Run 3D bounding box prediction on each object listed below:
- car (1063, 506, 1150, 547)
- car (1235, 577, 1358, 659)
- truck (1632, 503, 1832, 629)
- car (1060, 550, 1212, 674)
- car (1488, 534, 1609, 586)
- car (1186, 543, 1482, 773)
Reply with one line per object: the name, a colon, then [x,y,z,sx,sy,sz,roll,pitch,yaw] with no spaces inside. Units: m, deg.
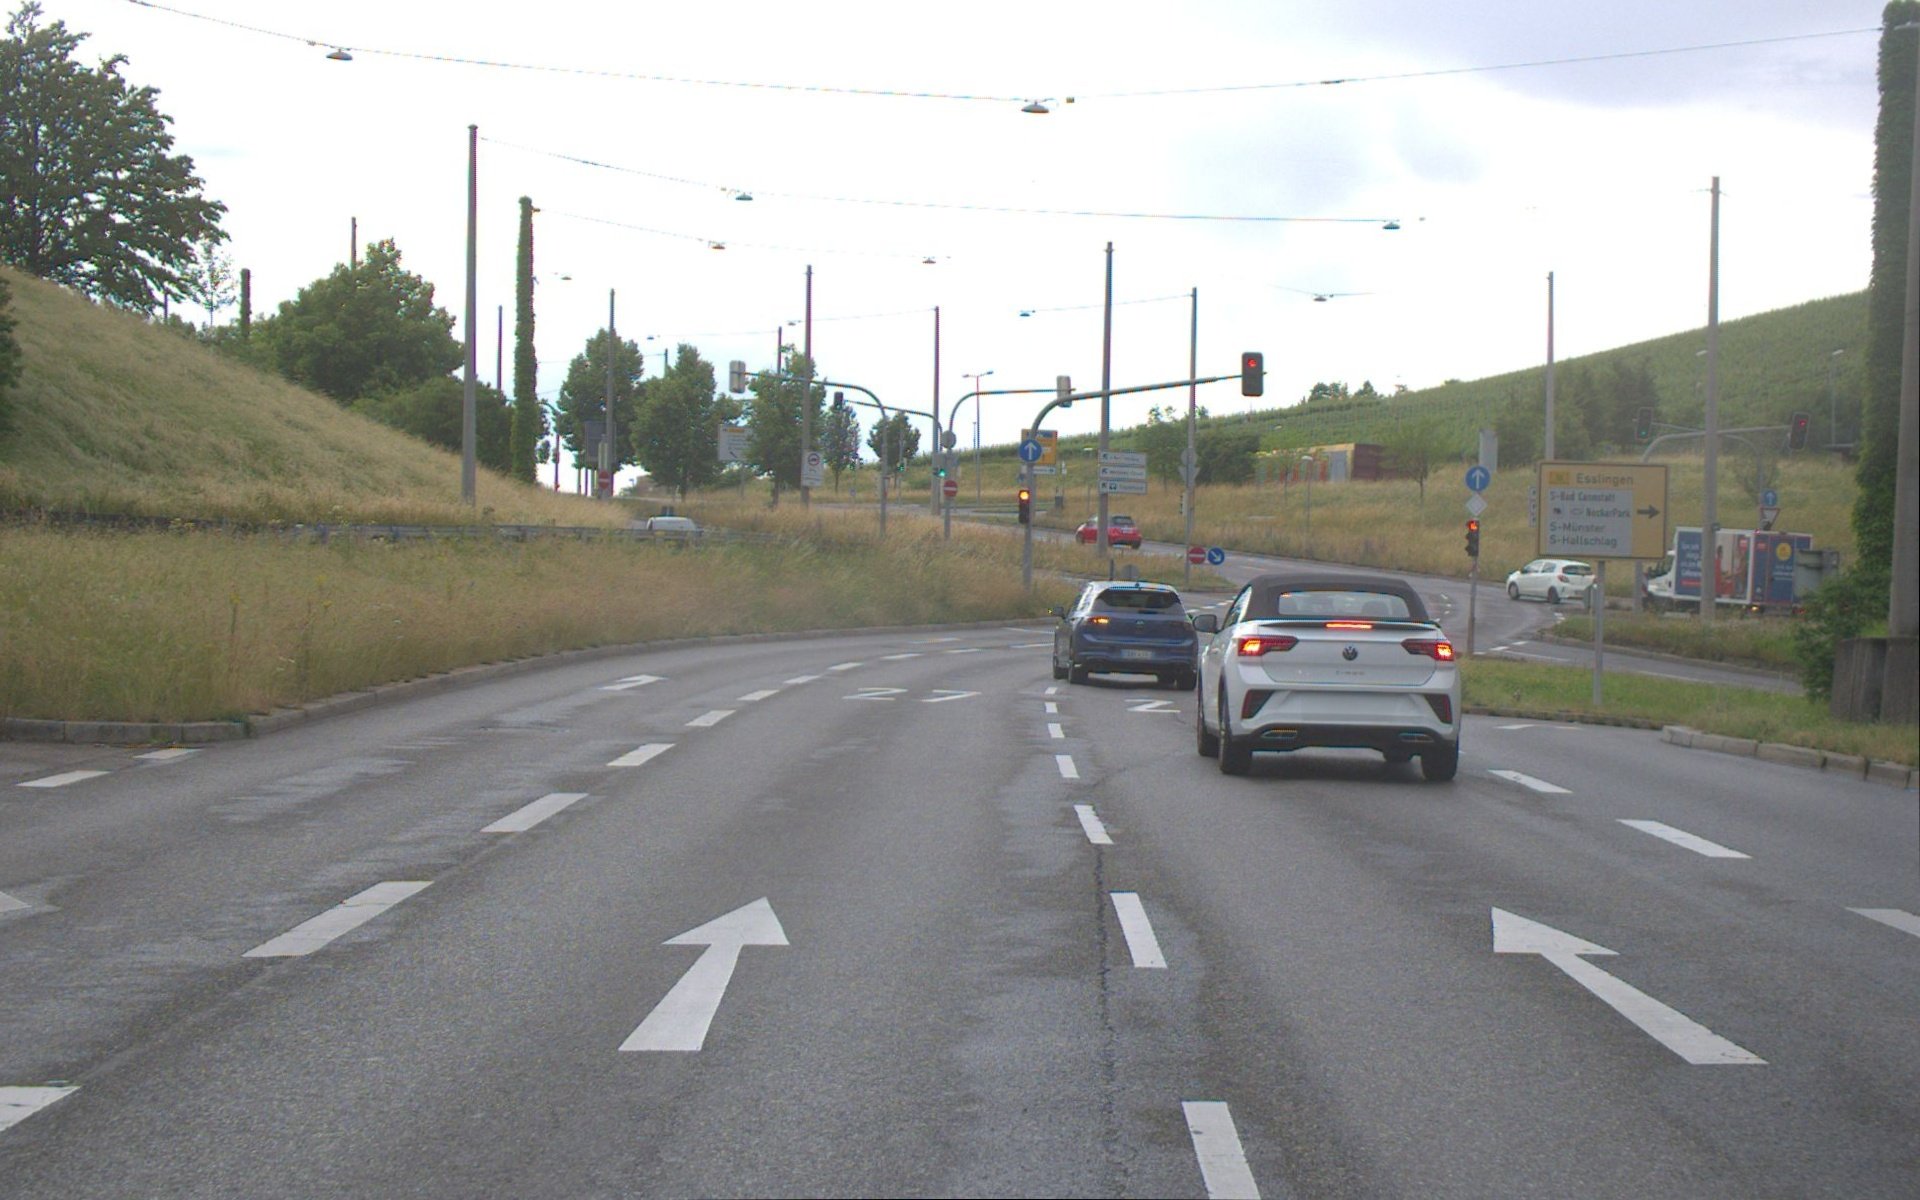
car: [6.418,-3.241,150.916,1.993,1.706,4.564,0,2,-23]
car: [6.955,0.370,70.734,1.776,1.514,3.722,4,1,16]
truck: [23.695,-1.094,105.796,2.847,3.514,6.237,0,4,-22]
car: [2.521,0.176,48.510,1.926,1.594,4.060,2,0,5]
car: [19.832,-1.368,116.054,1.993,1.495,4.565,0,4,-20]
car: [2.856,0.421,27.099,1.996,1.573,4.125,3,0,3]
